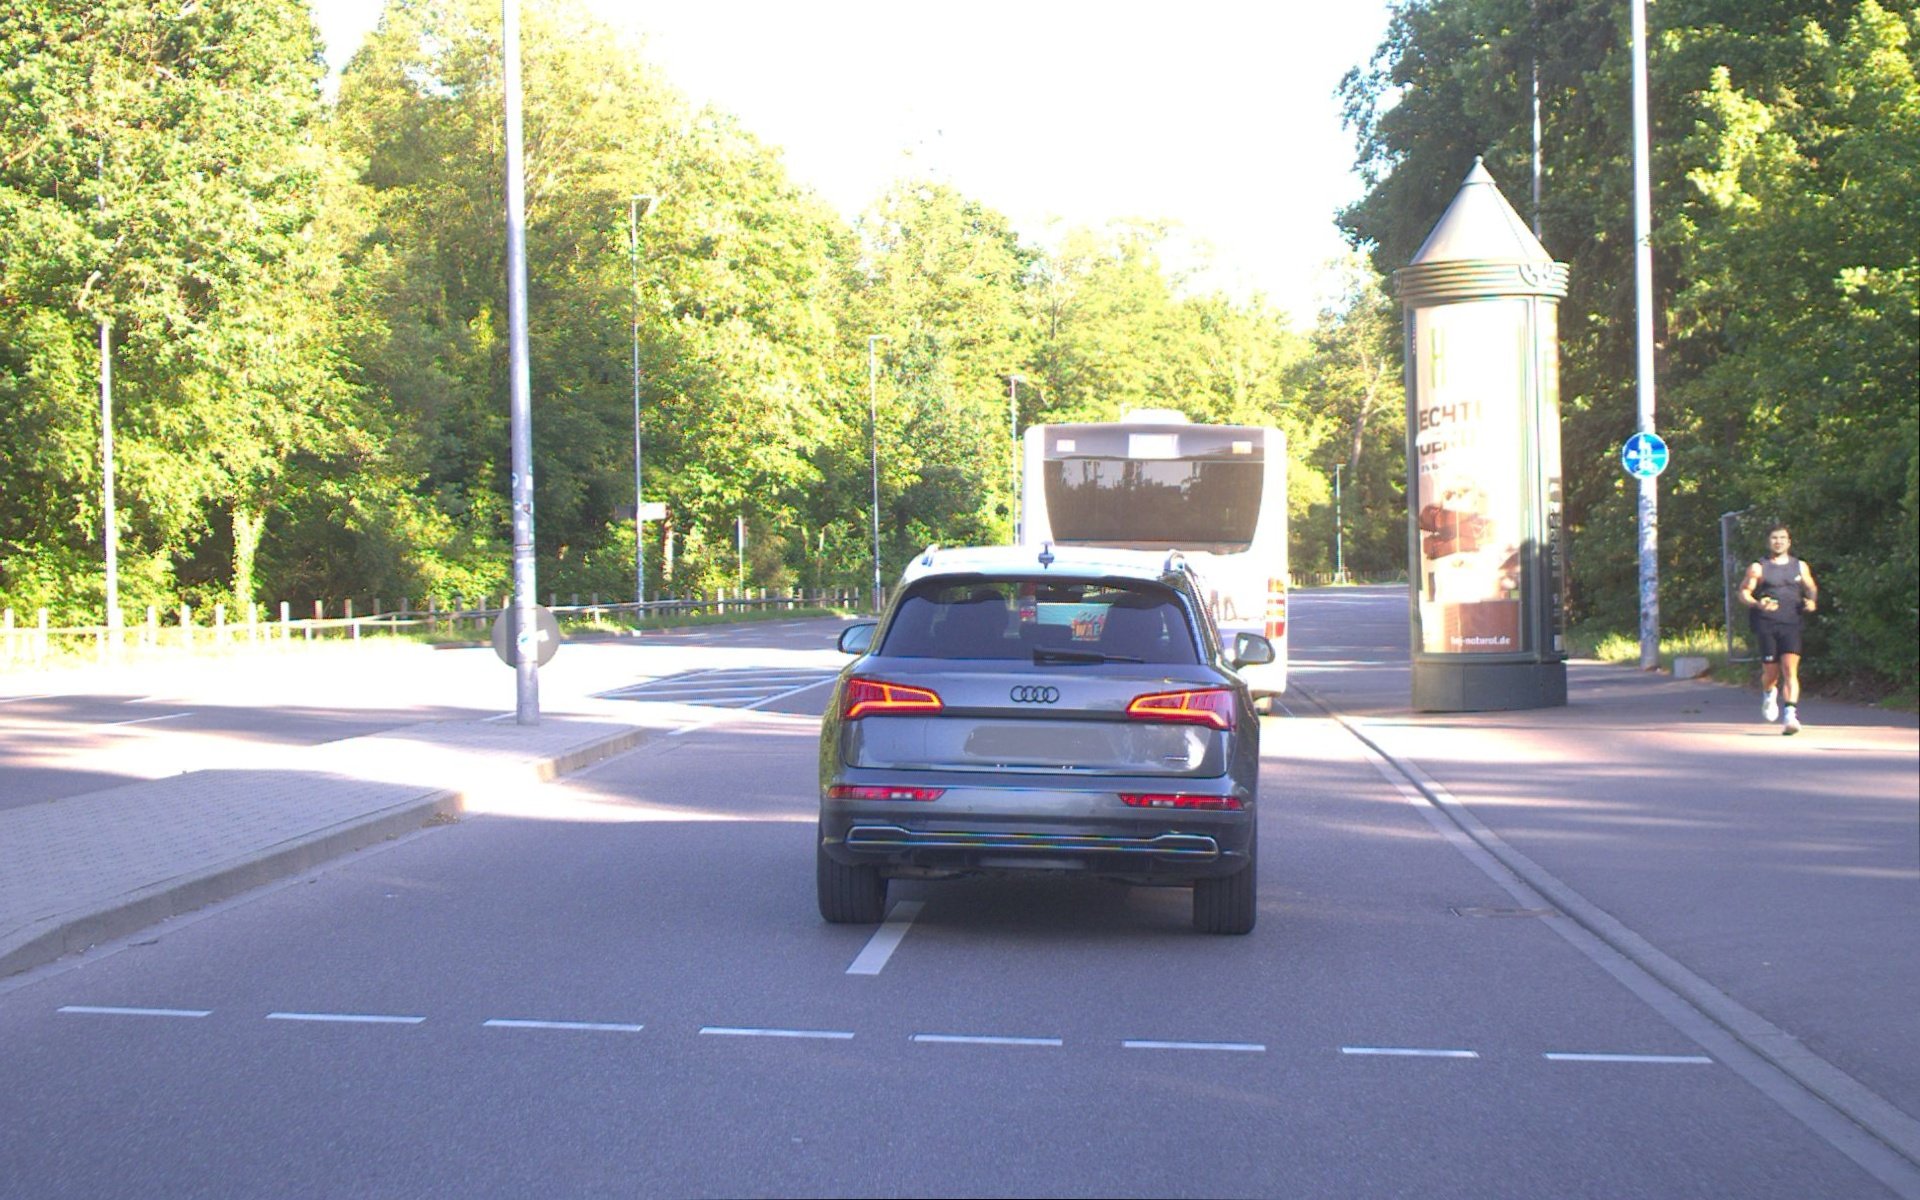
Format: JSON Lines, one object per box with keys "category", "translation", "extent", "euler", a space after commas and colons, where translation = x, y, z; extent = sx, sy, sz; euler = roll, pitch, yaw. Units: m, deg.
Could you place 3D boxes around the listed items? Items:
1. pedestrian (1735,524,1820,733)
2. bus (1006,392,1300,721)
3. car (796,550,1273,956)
{"category": "pedestrian", "translation": [6.731, 0.228, 28.323], "extent": [0.626, 1.682, 0.882], "euler": [1, 0, 11]}
{"category": "bus", "translation": [1.915, -0.468, 37.993], "extent": [2.689, 3.032, 12.041], "euler": [1, 1, 1]}
{"category": "car", "translation": [0.343, 0.579, 16.076], "extent": [1.893, 1.600, 4.544], "euler": [1, 1, 1]}
